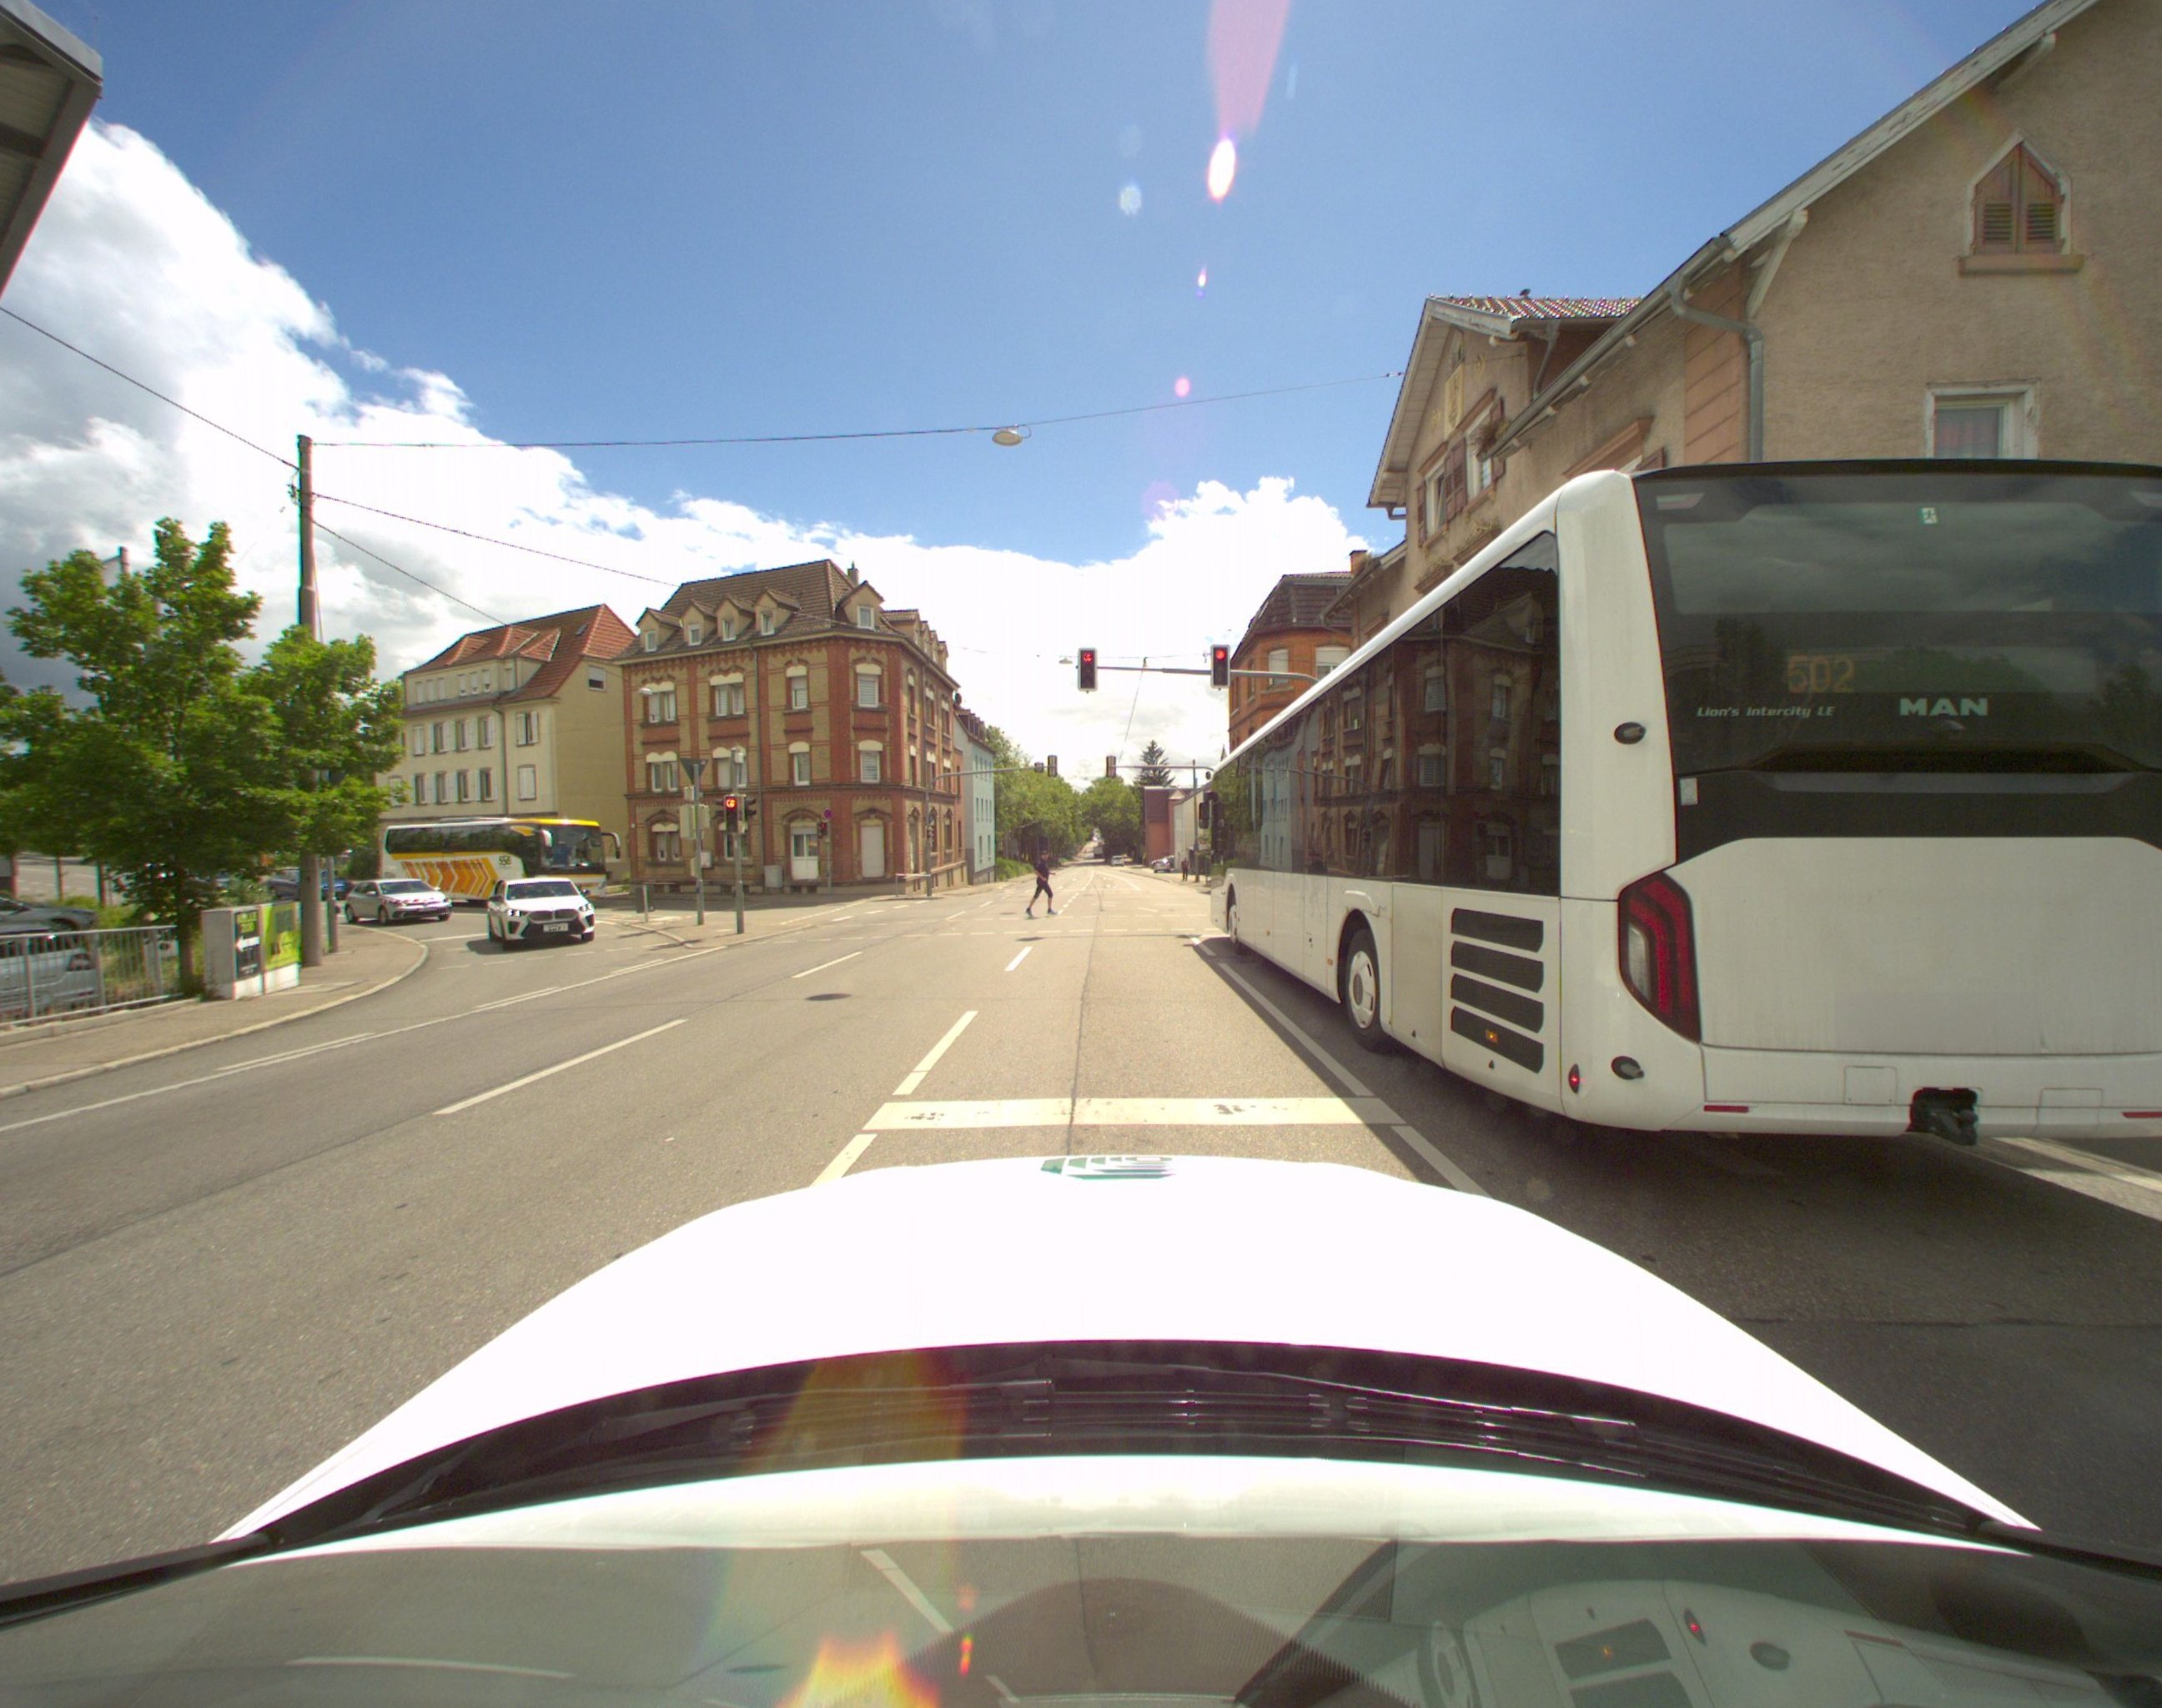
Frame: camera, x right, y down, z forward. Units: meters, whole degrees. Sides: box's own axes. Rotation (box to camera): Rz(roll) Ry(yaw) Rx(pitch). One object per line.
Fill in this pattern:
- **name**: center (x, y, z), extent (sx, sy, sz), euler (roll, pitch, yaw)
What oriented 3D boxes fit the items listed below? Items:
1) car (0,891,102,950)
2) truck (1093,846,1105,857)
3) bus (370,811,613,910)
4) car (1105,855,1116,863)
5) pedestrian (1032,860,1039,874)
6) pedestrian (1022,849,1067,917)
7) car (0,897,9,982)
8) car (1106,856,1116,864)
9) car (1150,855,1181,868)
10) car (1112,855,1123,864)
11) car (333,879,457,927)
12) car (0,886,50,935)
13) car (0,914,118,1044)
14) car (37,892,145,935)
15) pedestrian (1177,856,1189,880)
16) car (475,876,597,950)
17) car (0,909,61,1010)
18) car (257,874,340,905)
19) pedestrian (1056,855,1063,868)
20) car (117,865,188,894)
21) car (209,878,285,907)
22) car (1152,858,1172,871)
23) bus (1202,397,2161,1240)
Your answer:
- **car**: center (-29.593, 1.847, 22.185), extent (1.777, 1.477, 3.522), euler (-2, 0, 32)
- **truck**: center (5.025, -0.656, 225.091), extent (2.917, 3.081, 7.883), euler (-2, 0, 0)
- **bus**: center (-24.636, 0.339, 33.741), extent (12.110, 3.621, 2.788), euler (-1, 0, 26)
- **car**: center (5.284, 0.970, 145.913), extent (1.787, 1.409, 4.421), euler (-1, 0, 3)
- **pedestrian**: center (-5.287, 1.551, 95.358), extent (0.727, 1.565, 0.561), euler (-1, -1, 0)
- **pedestrian**: center (-0.964, 0.757, 21.686), extent (1.138, 1.734, 0.758), euler (-2, 0, -3)
- **car**: center (-23.475, 1.764, 16.474), extent (3.455, 1.680, 1.663), euler (-1, 2, 30)
- **car**: center (5.741, 1.105, 154.013), extent (1.787, 1.409, 4.421), euler (-1, 0, 3)
- **car**: center (11.771, 1.031, 113.072), extent (3.978, 1.757, 1.998), euler (-2, 0, -3)
- **car**: center (5.797, 0.934, 129.455), extent (1.788, 1.409, 4.001), euler (-1, 0, 1)
- **car**: center (-22.625, 1.591, 26.859), extent (3.575, 1.418, 1.896), euler (-2, 0, 28)
- **car**: center (-36.226, 1.885, 25.839), extent (1.785, 1.553, 4.023), euler (-2, 0, 25)
- **car**: center (-15.953, 1.798, 12.053), extent (3.321, 1.560, 1.692), euler (0, 2, 32)
- **car**: center (-37.312, 2.227, 30.692), extent (3.456, 1.448, 1.811), euler (-2, 0, 26)
- **pedestrian**: center (7.630, 1.036, 60.995), extent (0.736, 1.750, 0.619), euler (-2, 0, 1)
- **car**: center (-13.521, 1.364, 20.106), extent (1.844, 1.552, 4.254), euler (-2, 0, -43)
- **car**: center (-19.576, 1.848, 14.202), extent (3.455, 1.526, 1.626), euler (-1, 2, 29)
- **car**: center (-37.990, 1.728, 39.548), extent (3.949, 1.409, 1.762), euler (-2, 0, 28)
- **pedestrian**: center (-3.410, 1.218, 127.060), extent (0.991, 2.013, 1.189), euler (-2, 0, 1)
- **car**: center (-53.675, 1.456, 47.064), extent (3.949, 1.554, 1.923), euler (-2, 0, 29)
- **car**: center (-45.610, 2.092, 44.530), extent (3.949, 1.409, 1.923), euler (-2, 0, 29)
- **car**: center (9.225, 1.165, 93.017), extent (1.788, 1.409, 4.000), euler (-2, 0, 1)
- **bus**: center (3.476, -0.127, 9.342), extent (2.662, 3.155, 12.467), euler (-2, 0, 2)
